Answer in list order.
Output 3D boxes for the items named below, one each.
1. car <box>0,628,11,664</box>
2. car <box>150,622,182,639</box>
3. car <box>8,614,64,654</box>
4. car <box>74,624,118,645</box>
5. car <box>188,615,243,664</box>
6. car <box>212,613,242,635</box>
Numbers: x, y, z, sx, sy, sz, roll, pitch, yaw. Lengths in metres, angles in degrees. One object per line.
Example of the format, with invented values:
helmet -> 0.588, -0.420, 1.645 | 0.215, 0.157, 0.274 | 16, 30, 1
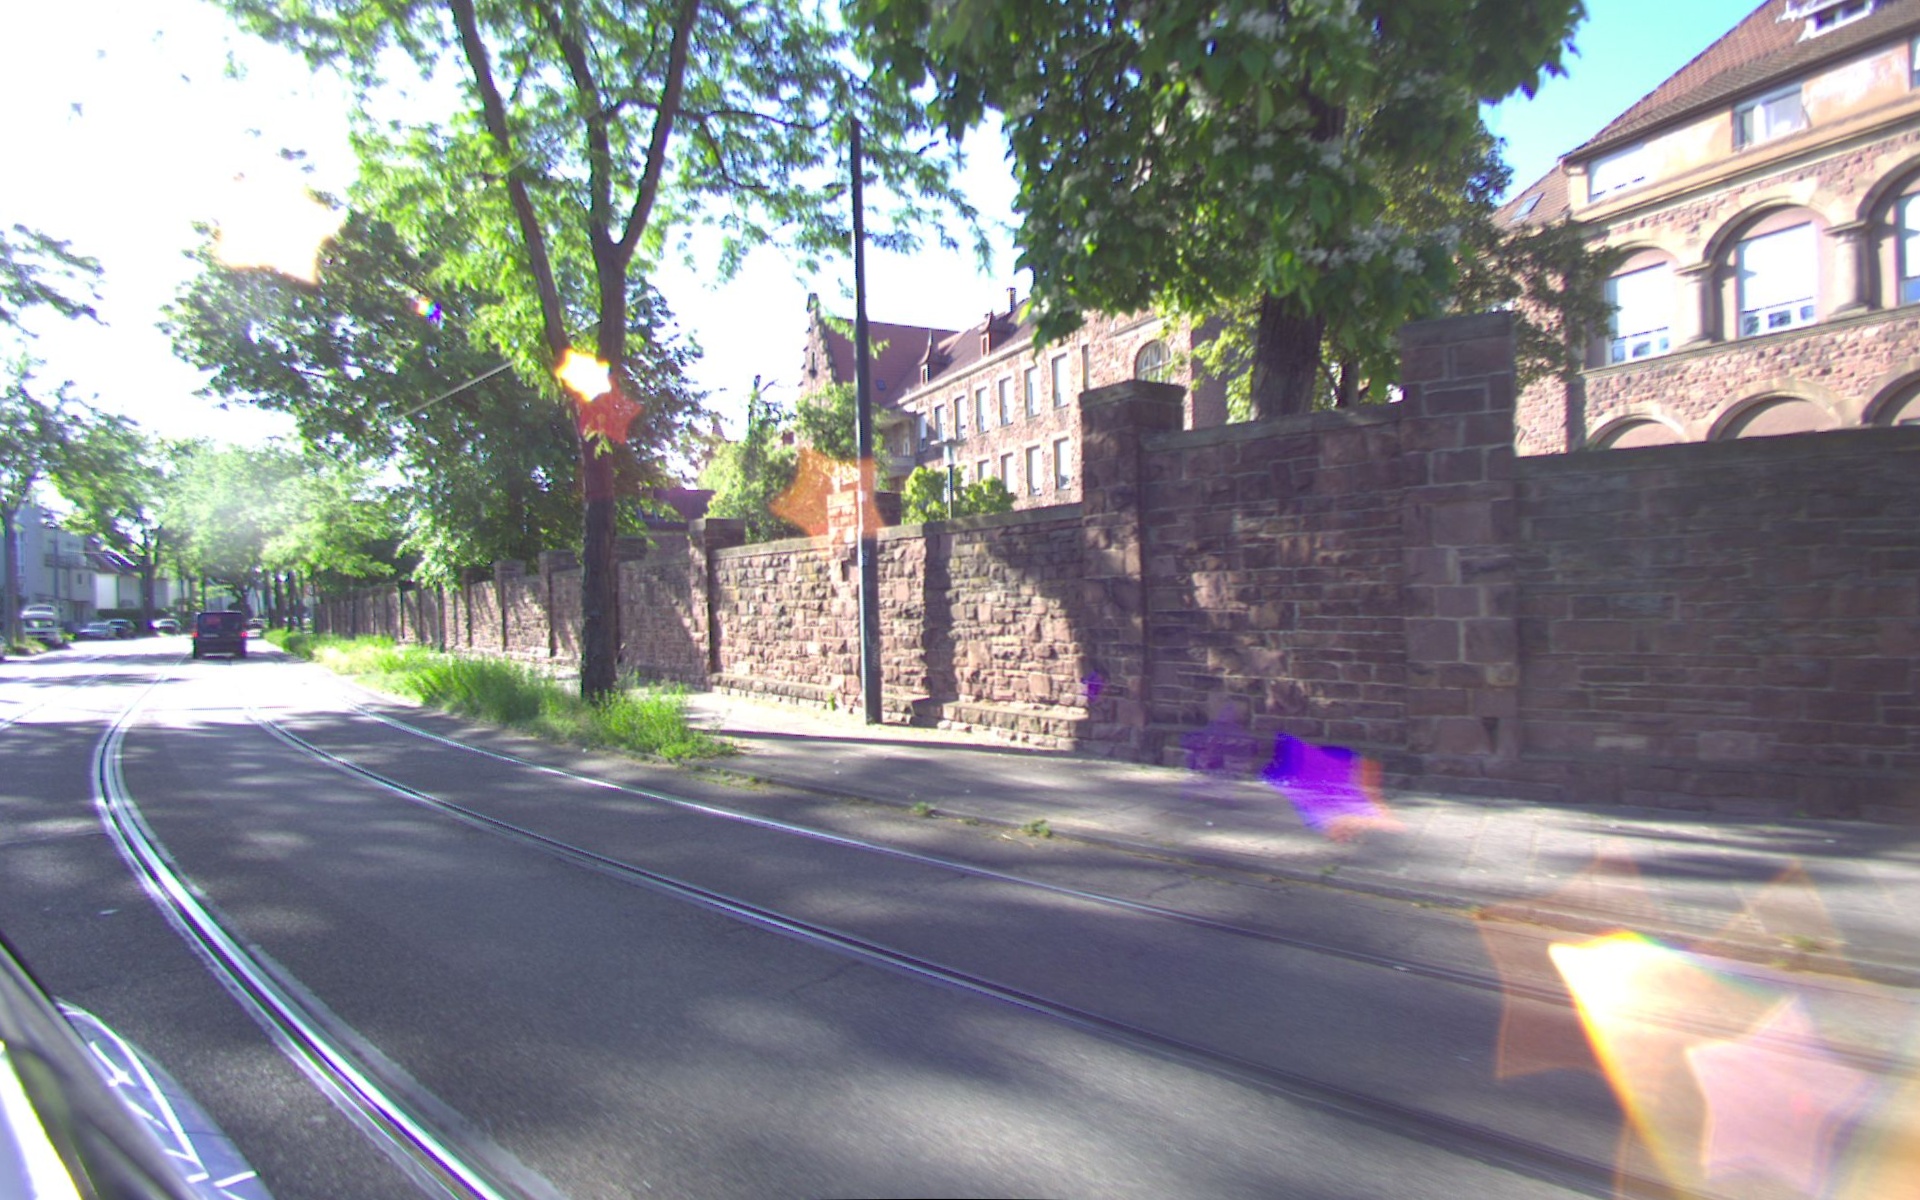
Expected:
car -> -41.799, 1.945, 42.719 | 1.975, 1.476, 5.444 | 3, -2, -38
car -> -80.974, 3.068, 103.263 | 1.850, 1.530, 4.664 | -2, 0, -29
car -> -52.554, 1.919, 57.614 | 1.968, 2.111, 4.726 | -1, -1, -38
car -> -70.418, 2.789, 82.512 | 1.714, 1.507, 4.544 | -2, 0, -27
car -> -30.081, 1.558, 40.842 | 1.612, 1.806, 4.346 | -1, 0, -39
car -> -95.658, 3.111, 132.198 | 2.259, 2.609, 5.737 | -2, 0, -27
